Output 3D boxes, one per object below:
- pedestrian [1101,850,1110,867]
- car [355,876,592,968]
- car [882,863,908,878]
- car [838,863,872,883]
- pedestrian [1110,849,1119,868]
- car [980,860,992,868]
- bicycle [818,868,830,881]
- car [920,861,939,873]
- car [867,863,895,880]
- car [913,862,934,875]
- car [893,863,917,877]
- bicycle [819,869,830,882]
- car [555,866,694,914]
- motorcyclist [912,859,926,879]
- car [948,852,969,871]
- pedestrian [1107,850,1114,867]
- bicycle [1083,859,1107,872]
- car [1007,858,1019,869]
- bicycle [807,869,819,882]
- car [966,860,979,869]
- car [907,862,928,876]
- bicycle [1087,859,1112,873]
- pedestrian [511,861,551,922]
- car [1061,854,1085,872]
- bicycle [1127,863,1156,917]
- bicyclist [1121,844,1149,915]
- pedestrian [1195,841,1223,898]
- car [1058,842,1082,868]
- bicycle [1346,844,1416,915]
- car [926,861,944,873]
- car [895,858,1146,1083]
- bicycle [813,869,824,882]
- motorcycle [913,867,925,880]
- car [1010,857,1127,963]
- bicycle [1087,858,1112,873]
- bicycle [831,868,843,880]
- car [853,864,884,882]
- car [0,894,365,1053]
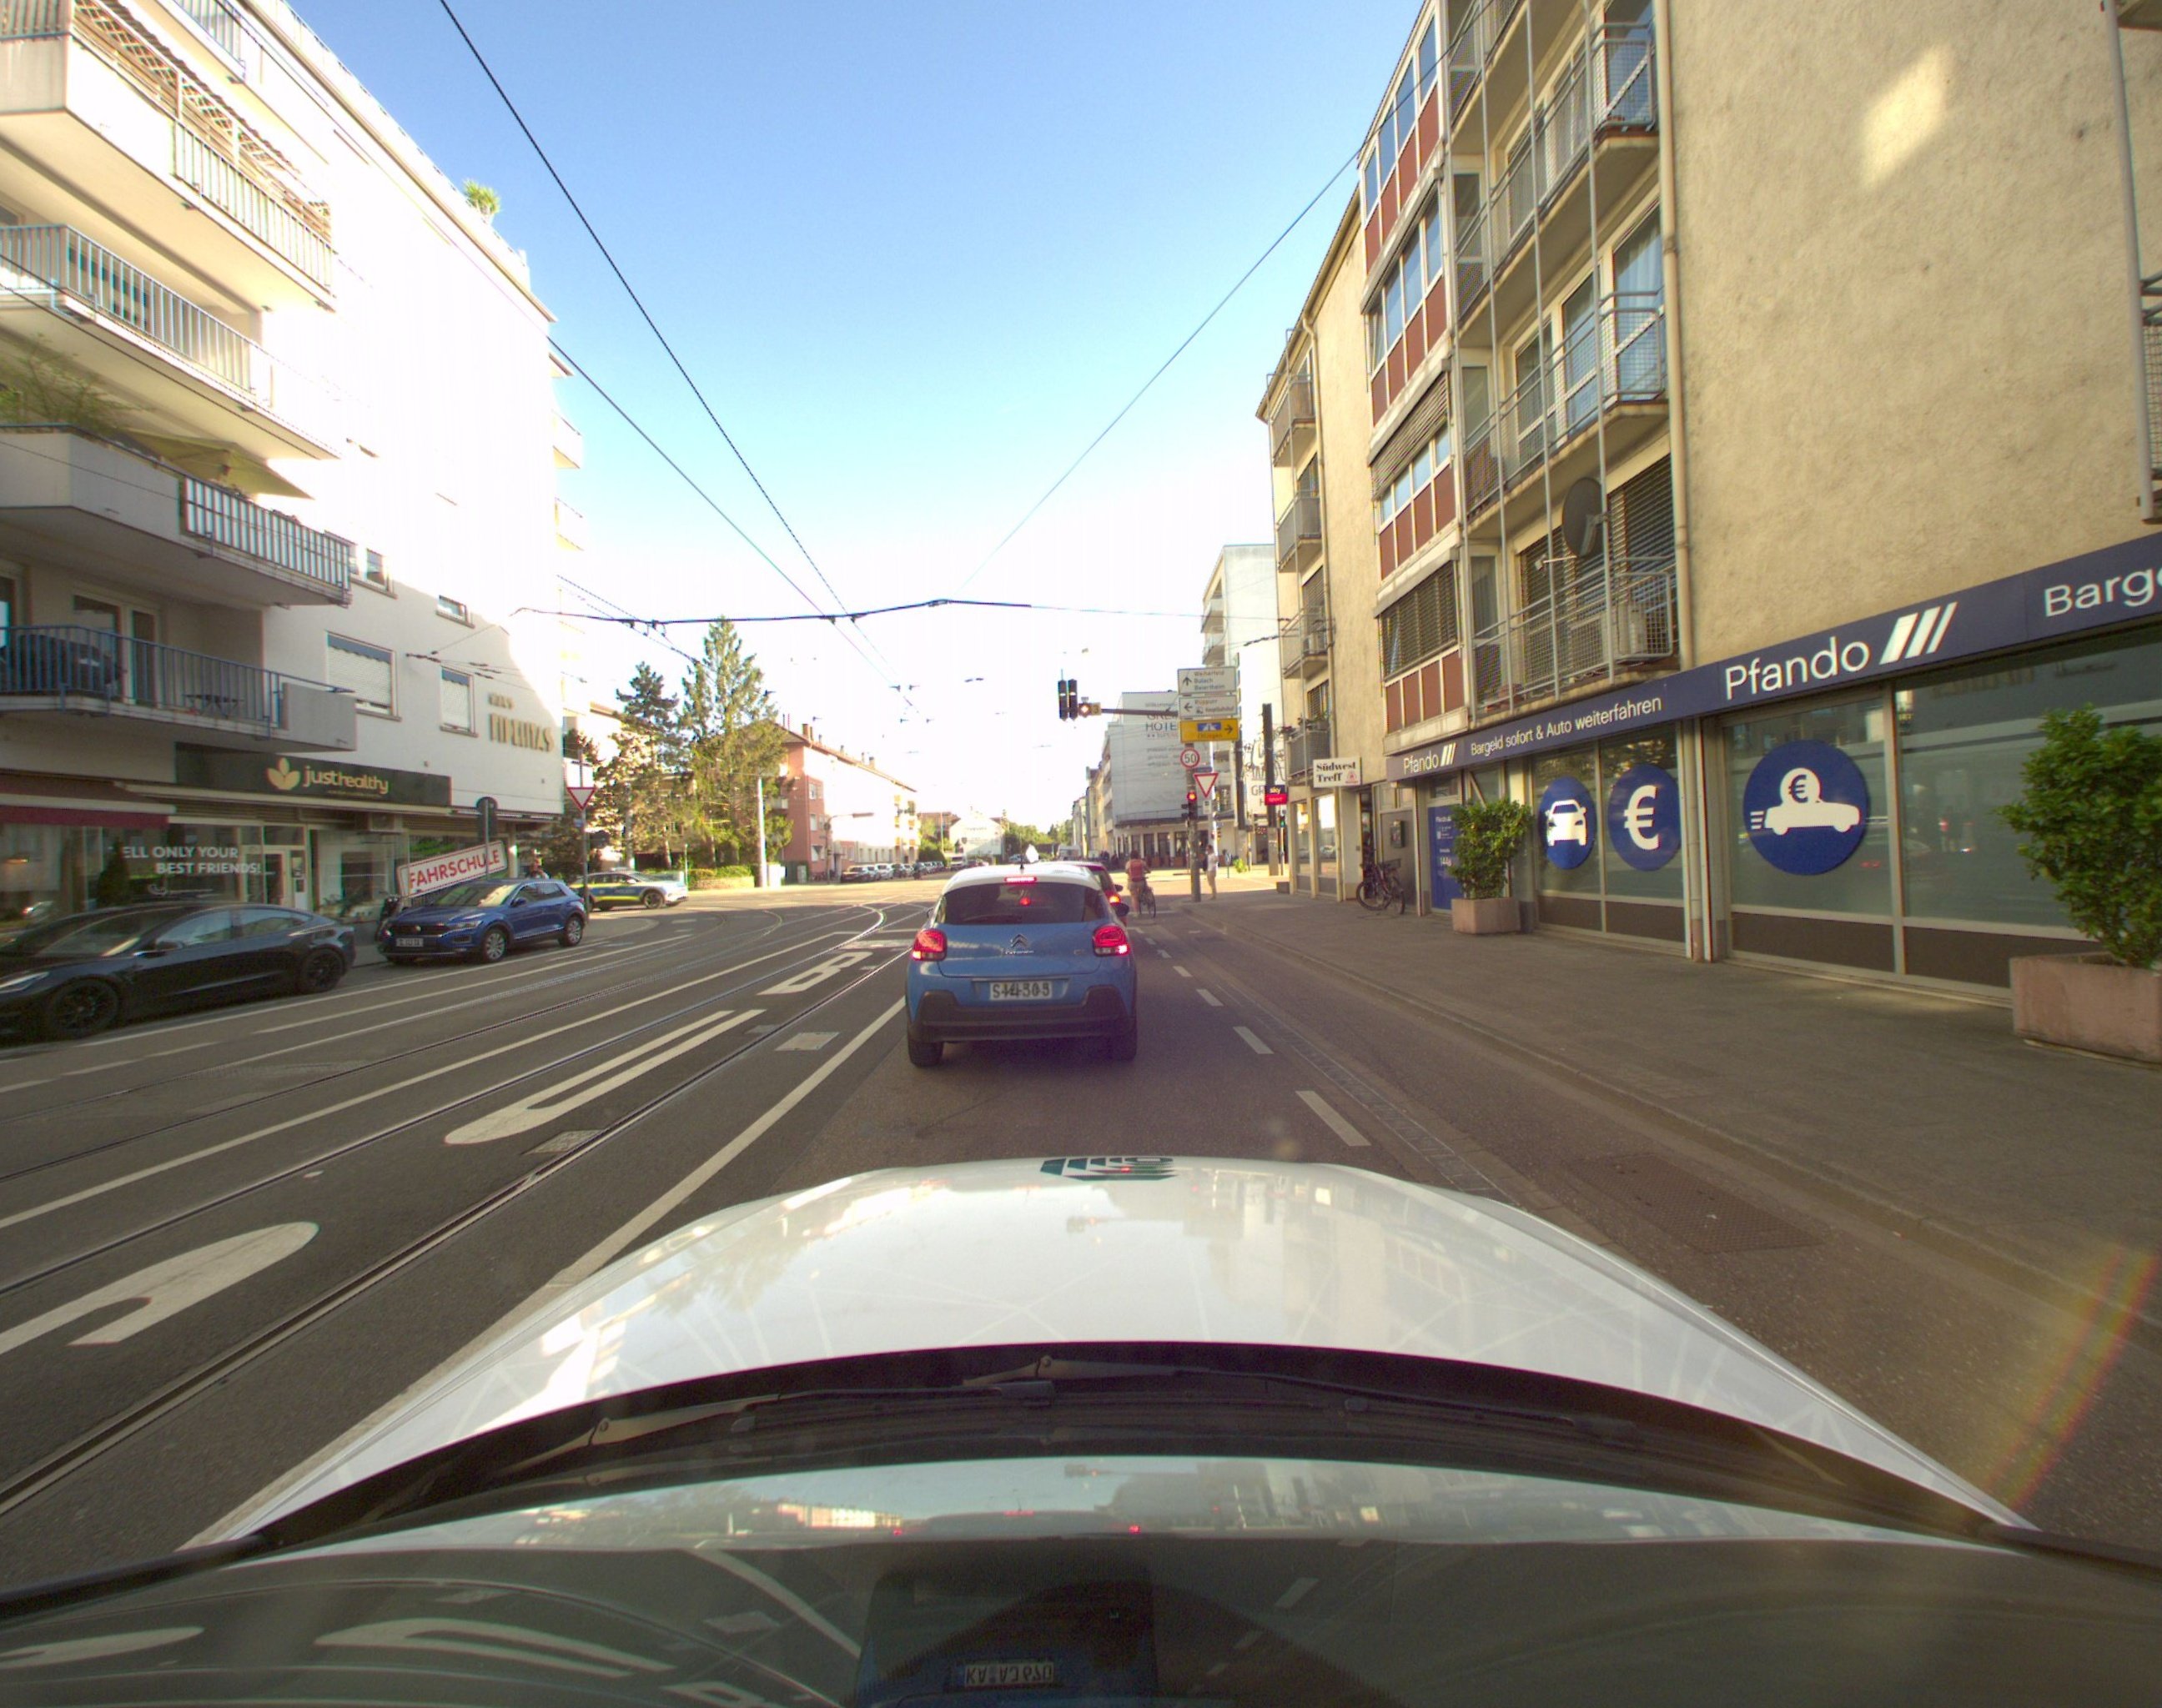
[{"bbox_3d":[2.103,0.395,70.383,0.520,1.420,0.550,-3,0,22],"label":"pedestrian"},{"bbox_3d":[-11.880,1.246,16.329,1.720,1.505,4.113,0,0,-2],"label":"car"},{"bbox_3d":[-19.730,1.737,86.532,1.947,1.519,3.995,-2,0,-4],"label":"car"},{"bbox_3d":[-19.291,1.599,69.623,1.947,1.519,3.995,-2,0,-4],"label":"car"},{"bbox_3d":[2.907,0.377,70.855,0.555,1.647,0.534,-2,0,-22],"label":"pedestrian"},{"bbox_3d":[-18.108,1.881,154.921,1.947,1.519,3.995,-2,0,-4],"label":"car"},{"bbox_3d":[-23.050,1.841,73.110,0.536,1.082,1.908,-2,0,-4],"label":"bicycle"},{"bbox_3d":[-20.298,1.769,109.331,1.947,1.519,3.995,-2,0,-4],"label":"car"},{"bbox_3d":[-19.560,1.682,79.859,1.947,1.519,3.995,-2,0,-4],"label":"car"},{"bbox_3d":[-20.097,1.797,104.042,1.947,1.519,3.995,-2,0,-4],"label":"car"},{"bbox_3d":[-19.981,1.787,92.600,1.947,1.519,3.995,-2,0,-4],"label":"car"},{"bbox_3d":[-21.596,1.792,68.476,0.537,1.082,1.905,-2,0,-9],"label":"bicycle"},{"bbox_3d":[-18.537,1.432,33.205,4.524,1.684,1.790,-2,0,-3],"label":"car"},{"bbox_3d":[-13.475,1.268,67.697,0.990,1.631,0.737,-2,0,-7],"label":"motorcyclist"},{"bbox_3d":[-18.126,1.099,120.579,2.489,2.712,5.828,-2,0,-5],"label":"car"},{"bbox_3d":[2.523,0.379,70.121,0.467,1.420,0.524,-2,0,-11],"label":"pedestrian"},{"bbox_3d":[1.159,0.953,68.447,1.901,1.064,0.641,-2,0,-6],"label":"bicycle"},{"bbox_3d":[-14.265,1.973,171.414,2.333,2.039,5.044,-2,0,-4],"label":"car"},{"bbox_3d":[-22.381,1.792,68.081,0.640,1.082,1.905,-2,0,-9],"label":"bicycle"},{"bbox_3d":[-19.337,1.811,145.248,1.947,1.519,3.995,-2,0,-4],"label":"car"},{"bbox_3d":[-19.852,1.782,99.029,1.947,1.519,3.995,-2,0,-4],"label":"car"},{"bbox_3d":[1.525,0.960,67.245,1.901,1.064,0.641,-2,0,-6],"label":"bicycle"},{"bbox_3d":[-17.289,1.171,25.600,0.761,1.834,0.725,-3,0,28],"label":"pedestrian"},{"bbox_3d":[-0.716,0.741,67.989,1.783,1.359,3.909,-2,0,-4],"label":"car"},{"bbox_3d":[1.531,0.889,20.730,0.611,1.264,1.911,-2,0,2],"label":"bicycle"},{"bbox_3d":[1.368,0.635,20.697,0.598,1.746,1.084,-2,0,2],"label":"bicyclist"},{"bbox_3d":[3.838,0.455,24.418,0.747,1.635,0.742,-2,0,7],"label":"pedestrian"},{"bbox_3d":[-1.039,0.085,73.451,2.074,2.269,5.647,-1,0,-2],"label":"car"},{"bbox_3d":[5.757,0.459,15.743,0.637,1.264,1.911,-2,0,2],"label":"bicycle"},{"bbox_3d":[-20.725,1.848,115.687,1.947,1.519,3.995,-2,0,-4],"label":"car"},{"bbox_3d":[-0.454,0.793,7.503,1.675,1.462,3.997,-1,0,-2],"label":"car"},{"bbox_3d":[-21.975,1.793,68.191,0.537,1.082,1.905,-2,0,-9],"label":"bicycle"},{"bbox_3d":[-13.484,1.596,67.764,0.751,0.976,2.092,-2,0,-7],"label":"motorcycle"},{"bbox_3d":[-0.228,0.813,13.711,1.675,1.462,3.997,-1,0,-2],"label":"car"},{"bbox_3d":[1.516,0.930,65.939,1.901,1.064,0.641,-2,0,-6],"label":"bicycle"},{"bbox_3d":[-22.717,1.859,75.806,0.608,1.082,1.908,-2,0,-4],"label":"bicycle"},{"bbox_3d":[-19.571,1.716,75.247,1.947,1.519,4.040,-2,0,-4],"label":"car"},{"bbox_3d":[-11.985,1.333,10.426,1.720,1.403,4.486,0,0,-2],"label":"car"}]
